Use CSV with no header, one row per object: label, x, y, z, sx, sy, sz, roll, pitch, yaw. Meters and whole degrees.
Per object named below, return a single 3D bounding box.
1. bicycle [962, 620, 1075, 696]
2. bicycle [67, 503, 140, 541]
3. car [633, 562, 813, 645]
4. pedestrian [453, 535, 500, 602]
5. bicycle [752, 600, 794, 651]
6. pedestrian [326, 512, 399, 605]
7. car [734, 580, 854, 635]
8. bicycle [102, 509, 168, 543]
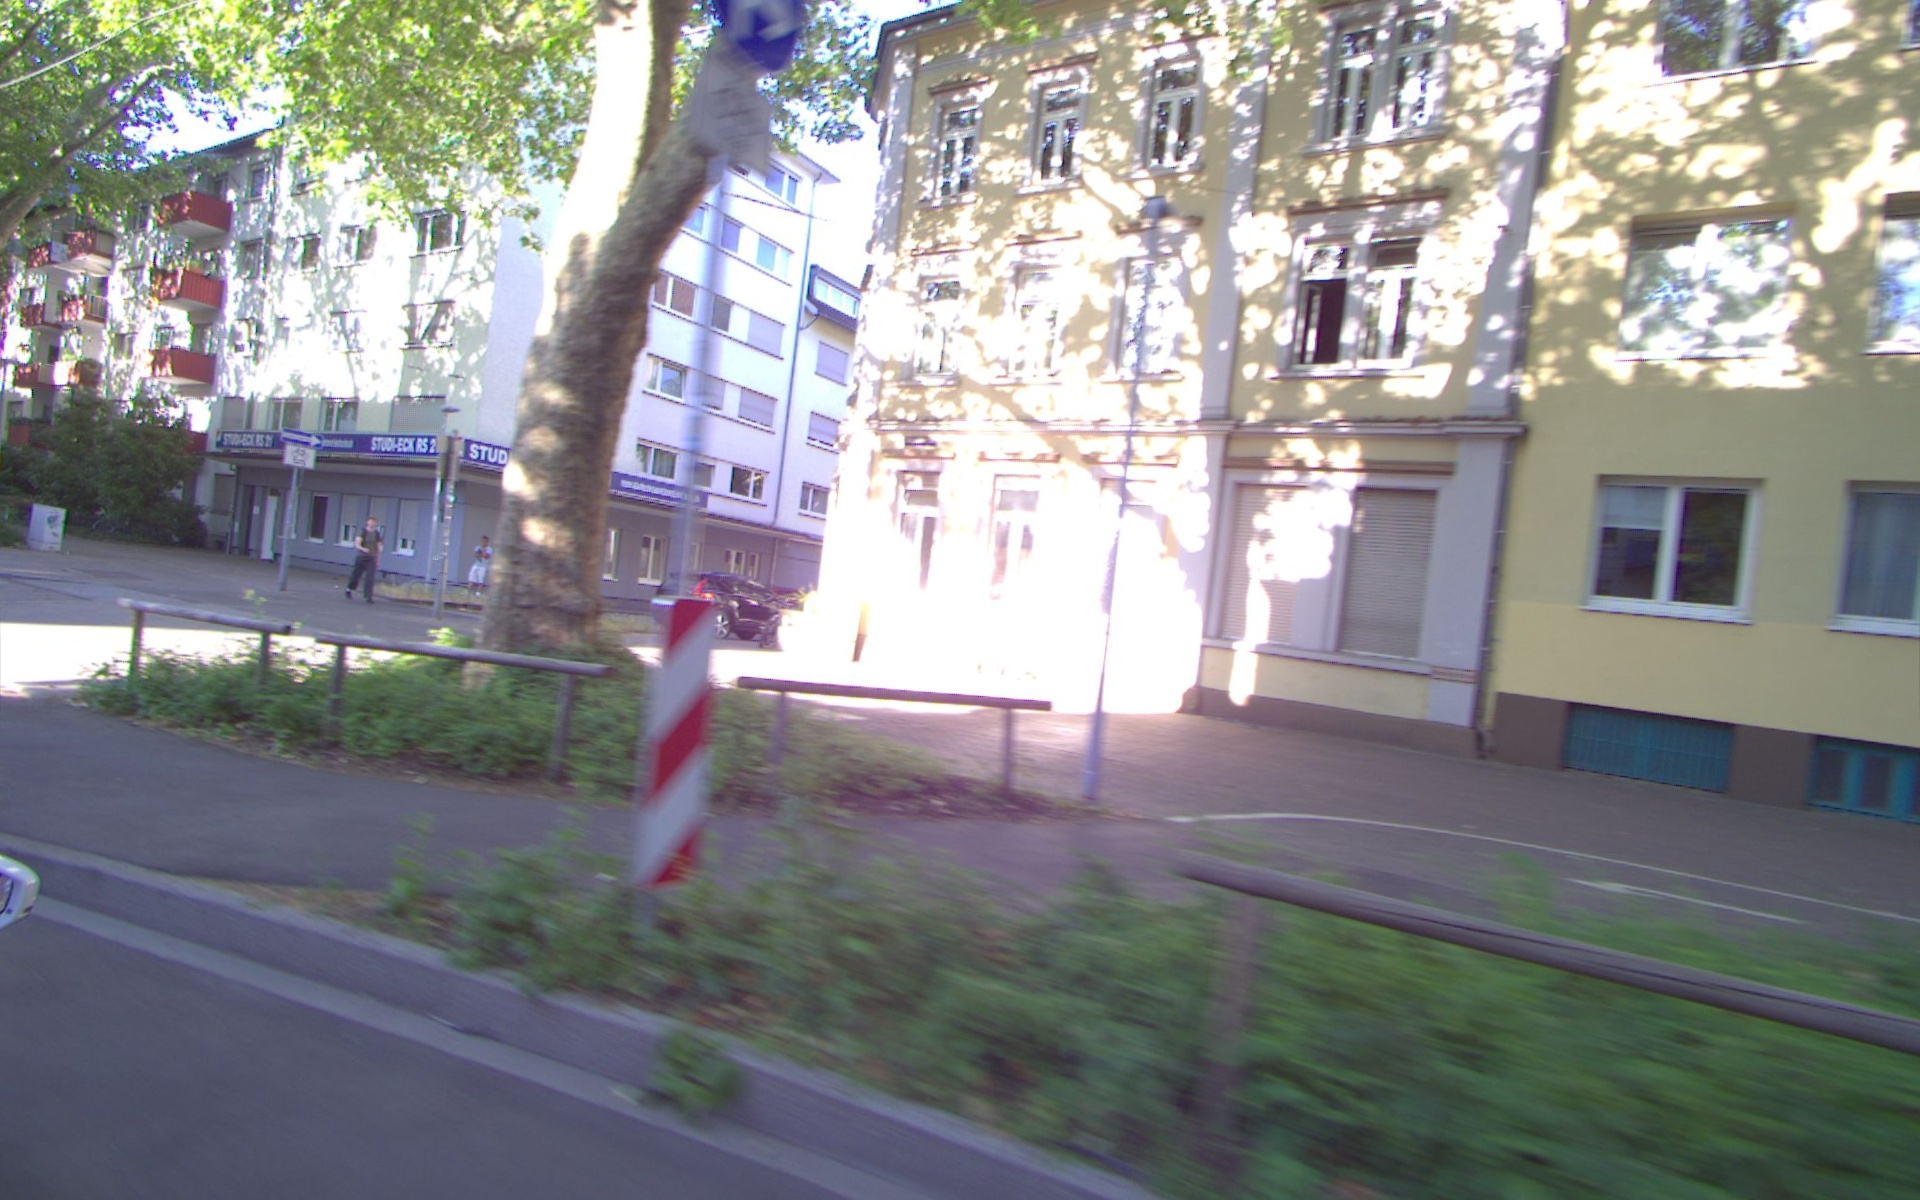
bicycle,1.028,1.020,18.058,1.891,1.118,0.582,7,2,32
bicycle,-31.697,-2.880,37.271,0.562,1.172,1.948,7,1,25
car,-5.815,0.146,25.147,1.966,1.612,4.138,7,-1,30
pedestrian,-12.816,-0.824,26.694,0.655,1.665,0.747,7,1,34
bicycle,-4.134,0.568,22.367,0.559,1.019,1.835,7,-1,-3
pedestrian,-13.182,-0.920,22.194,1.168,1.890,0.767,7,1,29
car,-5.918,0.300,36.250,1.966,1.439,4.138,9,1,29
bicycle,-31.162,-2.778,38.010,0.607,1.055,1.793,7,2,28
